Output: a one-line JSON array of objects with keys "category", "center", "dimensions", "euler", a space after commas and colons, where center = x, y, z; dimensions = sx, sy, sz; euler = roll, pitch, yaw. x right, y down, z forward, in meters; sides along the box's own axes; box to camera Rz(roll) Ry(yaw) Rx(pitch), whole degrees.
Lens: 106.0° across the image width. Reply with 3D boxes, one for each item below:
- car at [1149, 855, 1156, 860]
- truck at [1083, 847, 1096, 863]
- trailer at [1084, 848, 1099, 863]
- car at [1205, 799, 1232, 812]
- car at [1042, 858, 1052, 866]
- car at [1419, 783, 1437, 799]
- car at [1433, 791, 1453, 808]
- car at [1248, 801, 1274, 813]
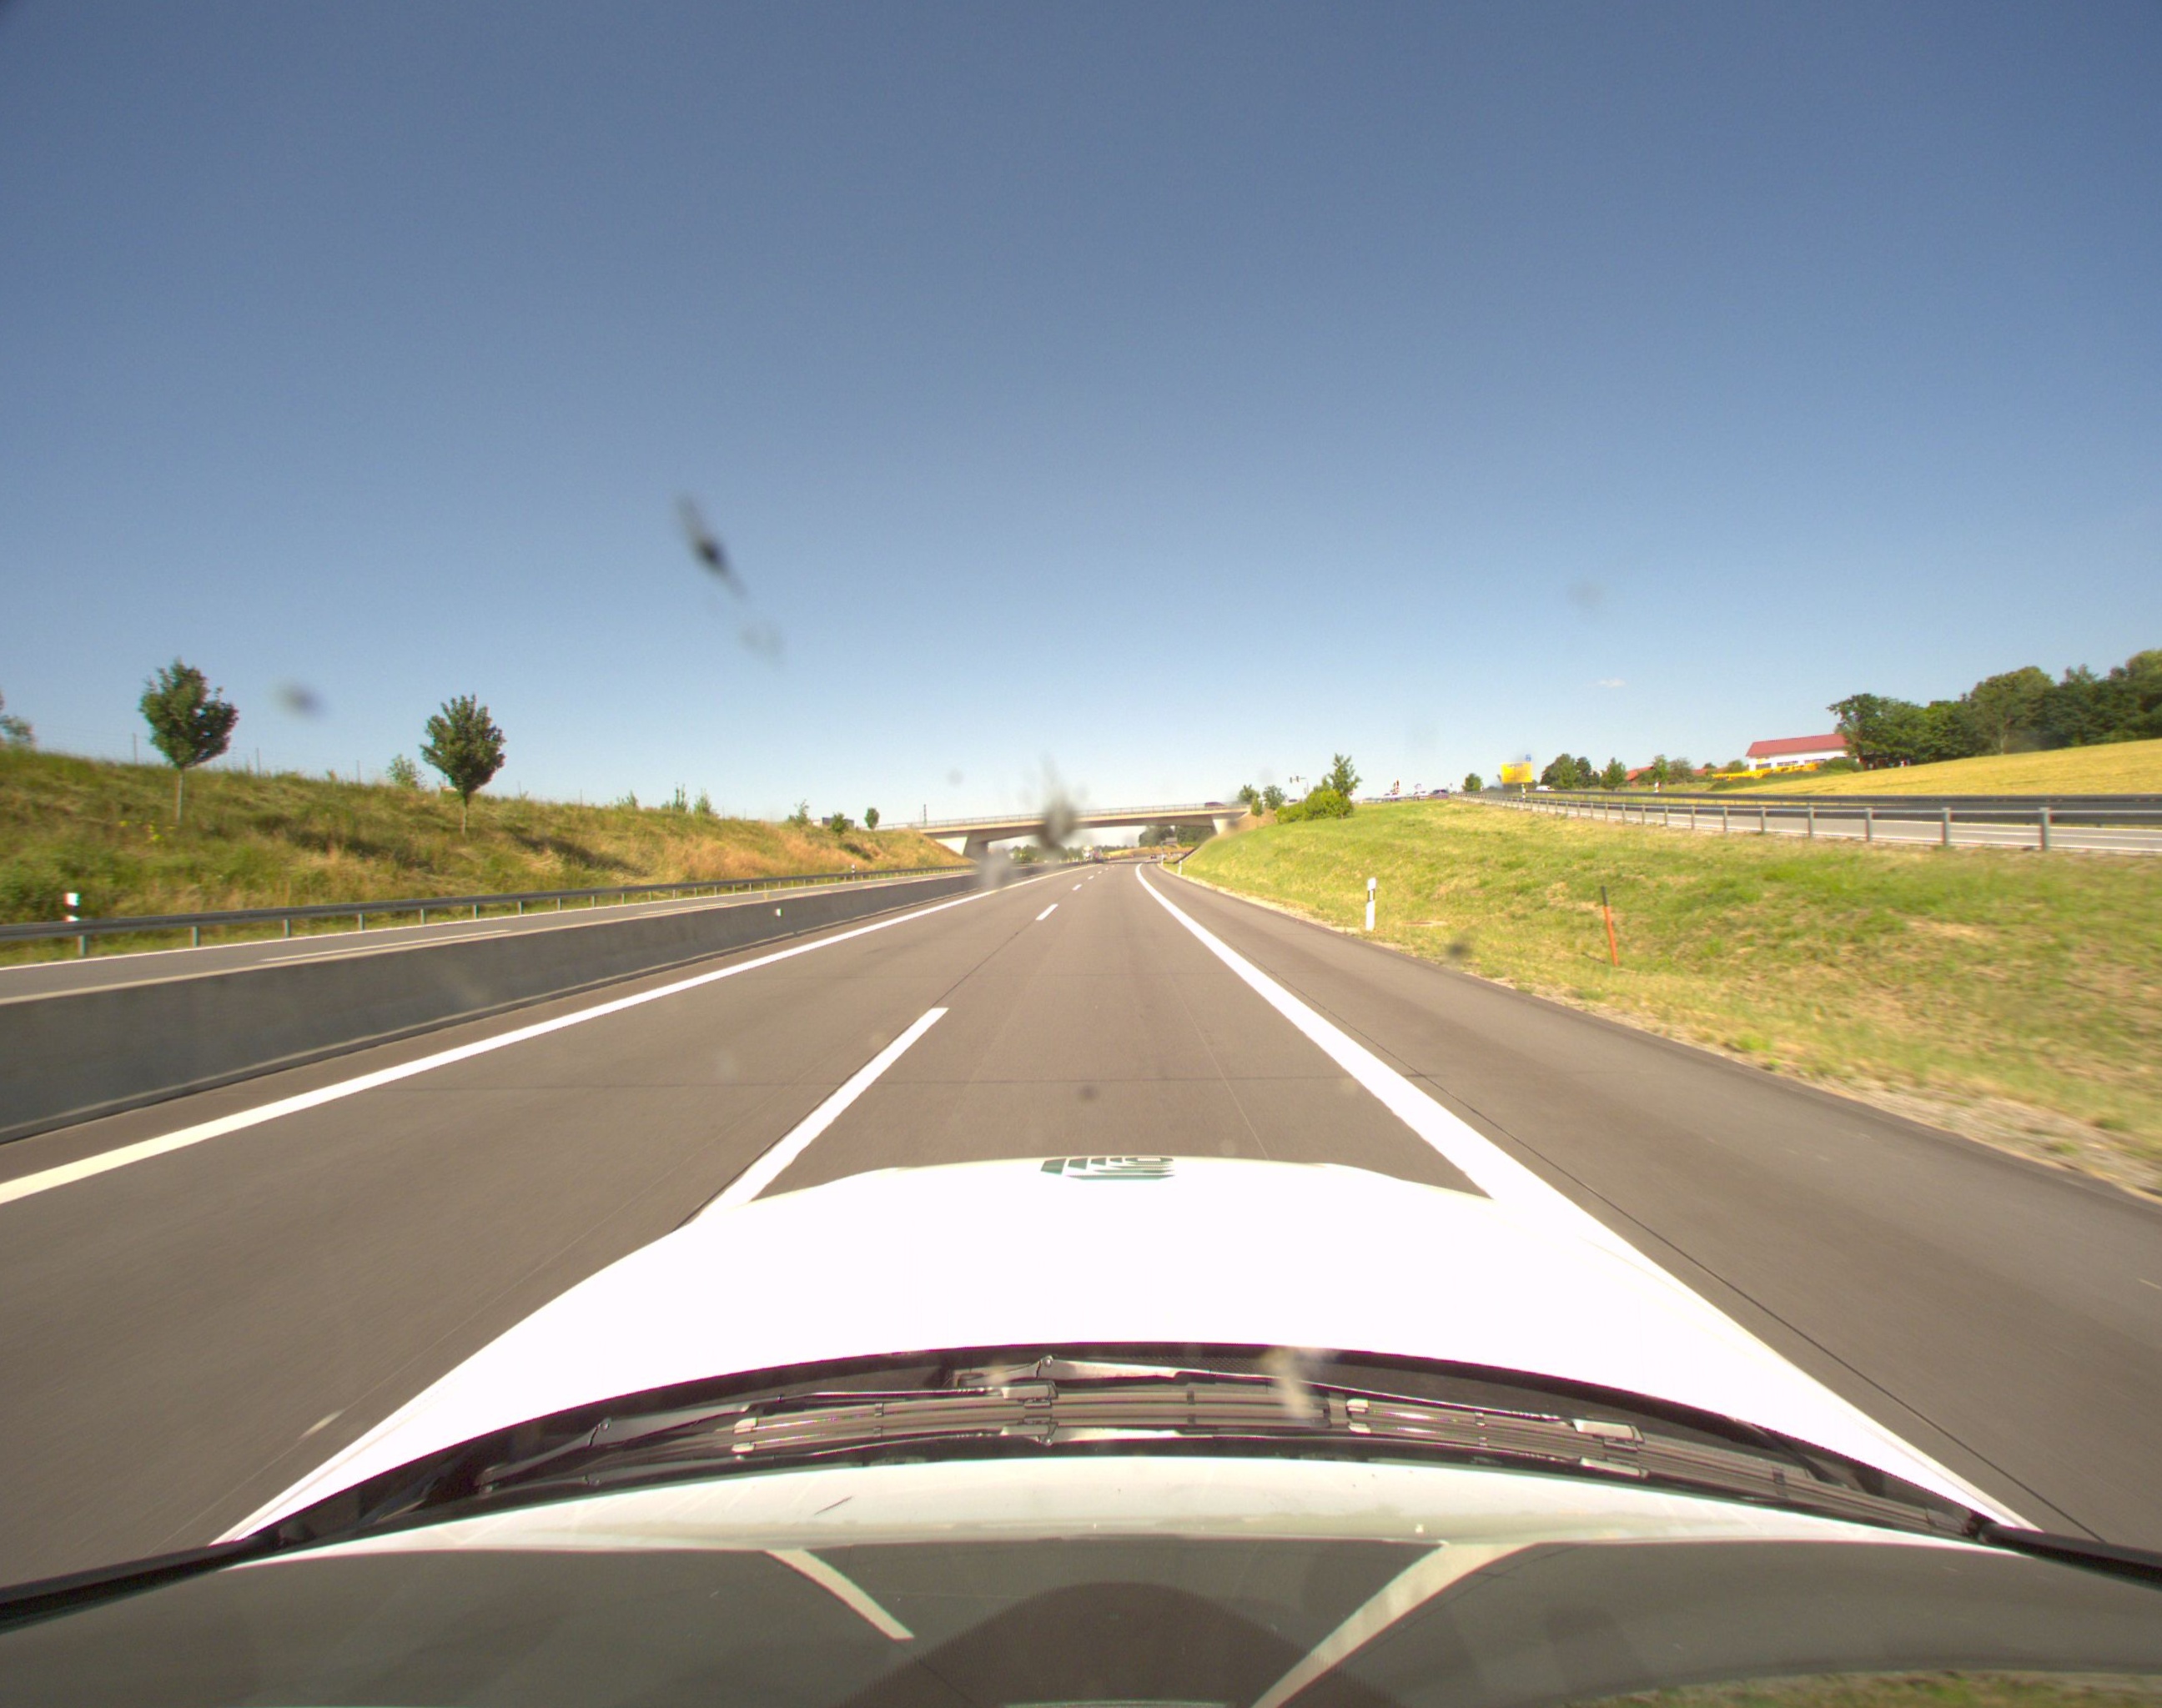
[{"category": "car", "center": [21.702, 1.057, 247.161], "dimensions": [1.984, 1.420, 4.006], "euler": [-3, 0, 6]}, {"category": "truck", "center": [2.213, 0.228, 211.344], "dimensions": [2.722, 3.831, 5.839], "euler": [-3, 0, 5]}, {"category": "trailer", "center": [2.856, 0.331, 218.312], "dimensions": [2.652, 3.657, 13.257], "euler": [-3, 0, 6]}, {"category": "car", "center": [24.079, -8.509, 143.065], "dimensions": [4.239, 2.021, 1.998], "euler": [-3, 0, -3]}, {"category": "car", "center": [-7.135, 1.682, 170.925], "dimensions": [1.857, 1.531, 4.564], "euler": [-3, 0, -2]}, {"category": "car", "center": [52.445, -9.493, 123.127], "dimensions": [1.978, 2.013, 4.017], "euler": [-2, 0, 16]}, {"category": "car", "center": [51.213, -7.687, 115.138], "dimensions": [1.978, 2.013, 4.018], "euler": [-3, 0, 16]}, {"category": "car", "center": [31.798, -8.283, 143.918], "dimensions": [4.116, 1.881, 1.997], "euler": [-3, 1, -5]}]
